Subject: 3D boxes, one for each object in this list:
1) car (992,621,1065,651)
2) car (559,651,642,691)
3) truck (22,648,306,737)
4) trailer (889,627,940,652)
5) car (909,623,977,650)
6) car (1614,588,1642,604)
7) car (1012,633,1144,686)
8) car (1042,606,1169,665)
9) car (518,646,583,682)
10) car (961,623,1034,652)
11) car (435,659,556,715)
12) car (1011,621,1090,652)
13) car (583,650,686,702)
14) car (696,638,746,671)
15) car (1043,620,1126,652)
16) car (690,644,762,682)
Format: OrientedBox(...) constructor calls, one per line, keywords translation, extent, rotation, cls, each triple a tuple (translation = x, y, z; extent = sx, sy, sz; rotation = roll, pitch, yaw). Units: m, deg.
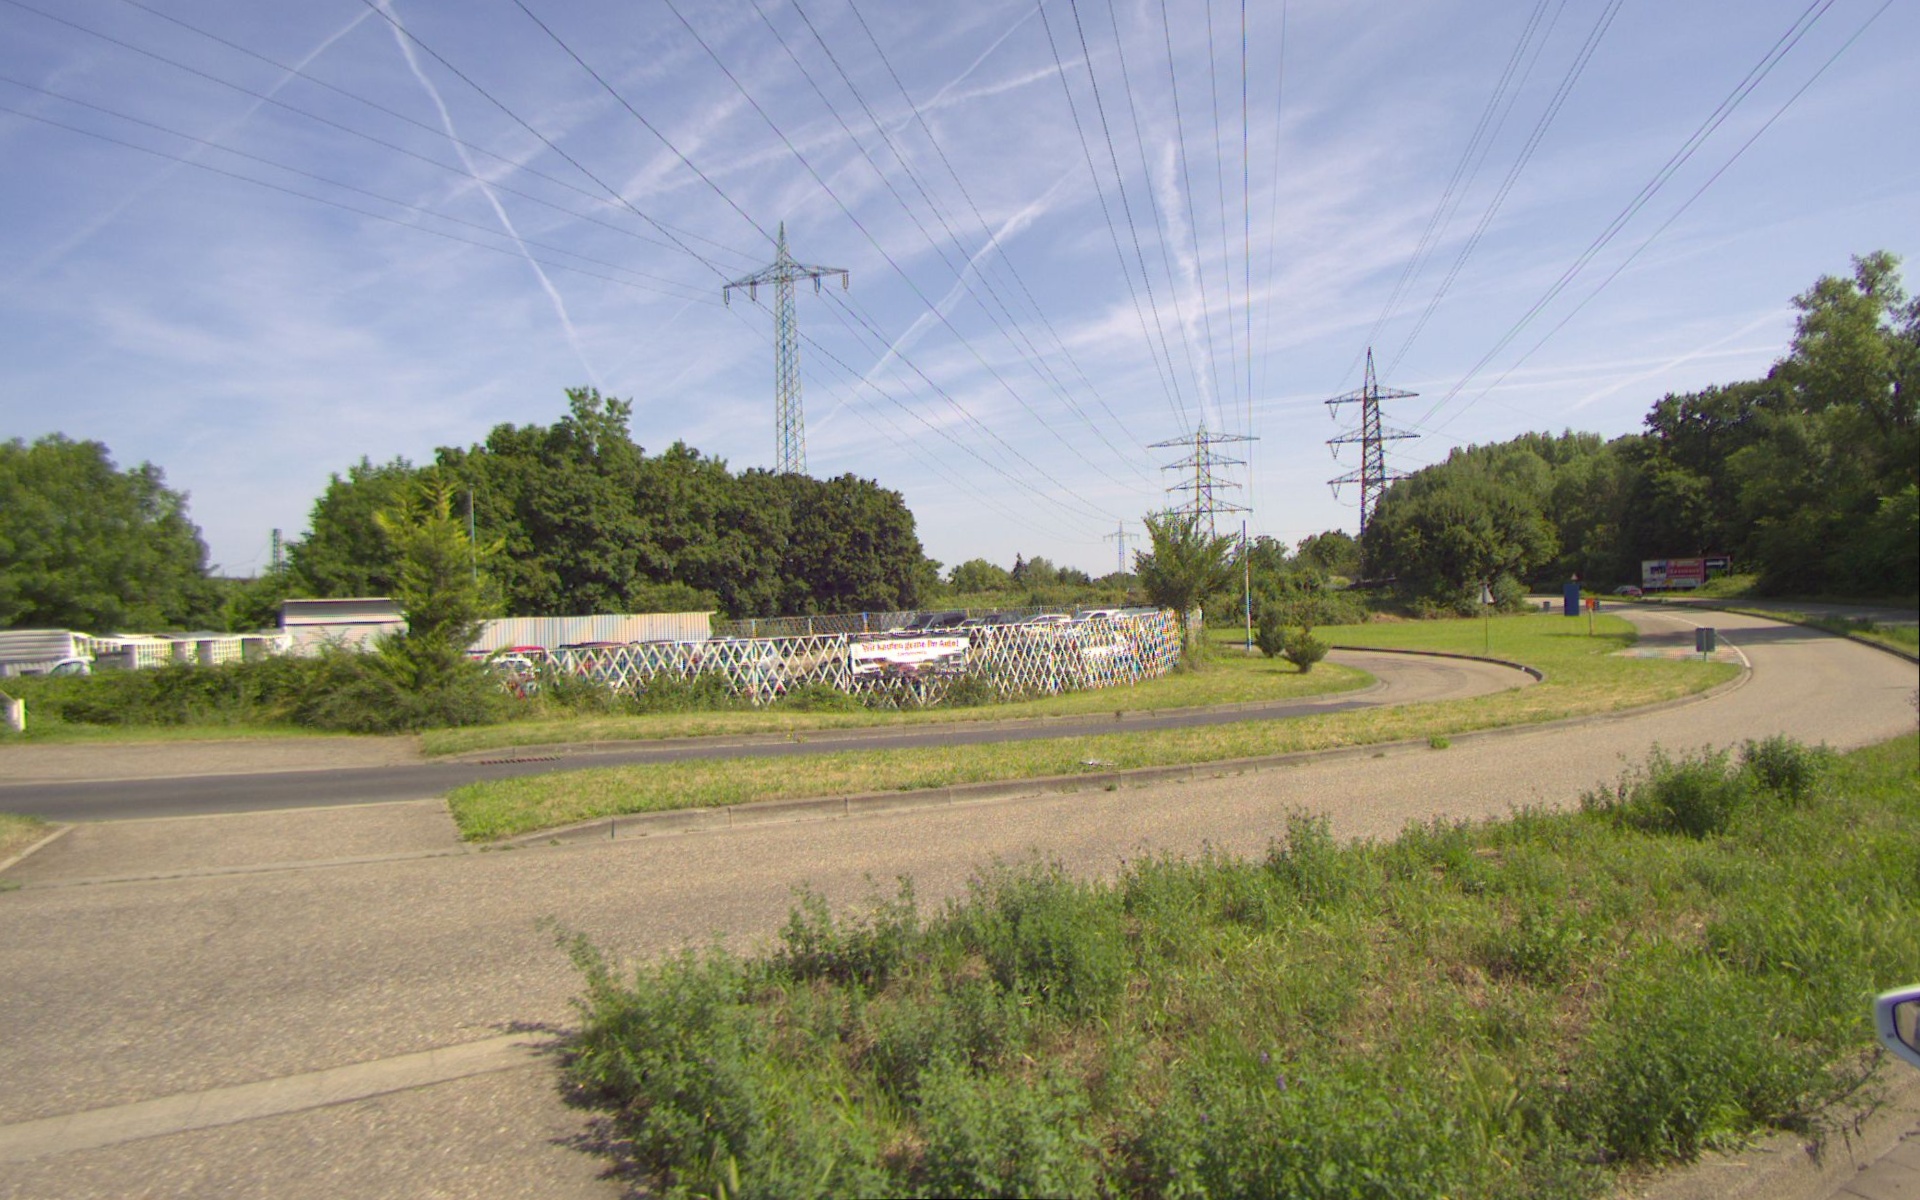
OrientedBox(translation=(3.532, 1.830, 51.537), extent=(3.609, 1.310, 1.581), rotation=(-2, 0, -39), cls="car")
OrientedBox(translation=(-14.142, 2.781, 39.657), extent=(1.567, 1.310, 3.182), rotation=(-3, 0, 13), cls="car")
OrientedBox(translation=(-24.126, 2.744, 30.822), extent=(6.267, 2.142, 2.487), rotation=(-3, 0, -17), cls="truck")
OrientedBox(translation=(-2.674, 2.302, 58.731), extent=(2.848, 1.274, 1.498), rotation=(-3, 0, -6), cls="trailer")
OrientedBox(translation=(-0.933, 2.079, 57.084), extent=(3.609, 1.310, 1.581), rotation=(-2, 0, -39), cls="car")
OrientedBox(translation=(74.546, -0.457, 112.136), extent=(1.619, 1.587, 3.657), rotation=(-3, 0, 17), cls="car")
OrientedBox(translation=(3.606, 1.787, 30.725), extent=(3.697, 1.373, 1.480), rotation=(-3, 0, -18), cls="car")
OrientedBox(translation=(5.796, 1.404, 40.116), extent=(4.652, 2.068, 1.692), rotation=(-3, 0, -12), cls="car")
OrientedBox(translation=(-17.789, 2.773, 43.719), extent=(1.568, 1.310, 3.179), rotation=(-3, 0, -2), cls="car")
OrientedBox(translation=(2.001, 1.970, 53.442), extent=(3.603, 1.310, 1.584), rotation=(-2, 0, -34), cls="car")
OrientedBox(translation=(-13.518, 2.517, 29.403), extent=(1.567, 1.310, 3.182), rotation=(-3, 0, 13), cls="car")
OrientedBox(translation=(4.450, 1.772, 49.280), extent=(3.599, 1.310, 1.586), rotation=(-2, 0, -31), cls="car")
OrientedBox(translation=(-9.997, 2.312, 31.062), extent=(1.567, 1.310, 3.182), rotation=(-3, 0, 13), cls="car")
OrientedBox(translation=(-10.849, 2.455, 45.708), extent=(1.568, 1.310, 3.179), rotation=(-3, 0, -2), cls="car")
OrientedBox(translation=(5.880, 1.692, 47.383), extent=(3.593, 1.310, 1.589), rotation=(-2, 0, -26), cls="car")
OrientedBox(translation=(-9.472, 2.545, 40.930), extent=(1.567, 1.310, 3.182), rotation=(-3, 0, 13), cls="car")
